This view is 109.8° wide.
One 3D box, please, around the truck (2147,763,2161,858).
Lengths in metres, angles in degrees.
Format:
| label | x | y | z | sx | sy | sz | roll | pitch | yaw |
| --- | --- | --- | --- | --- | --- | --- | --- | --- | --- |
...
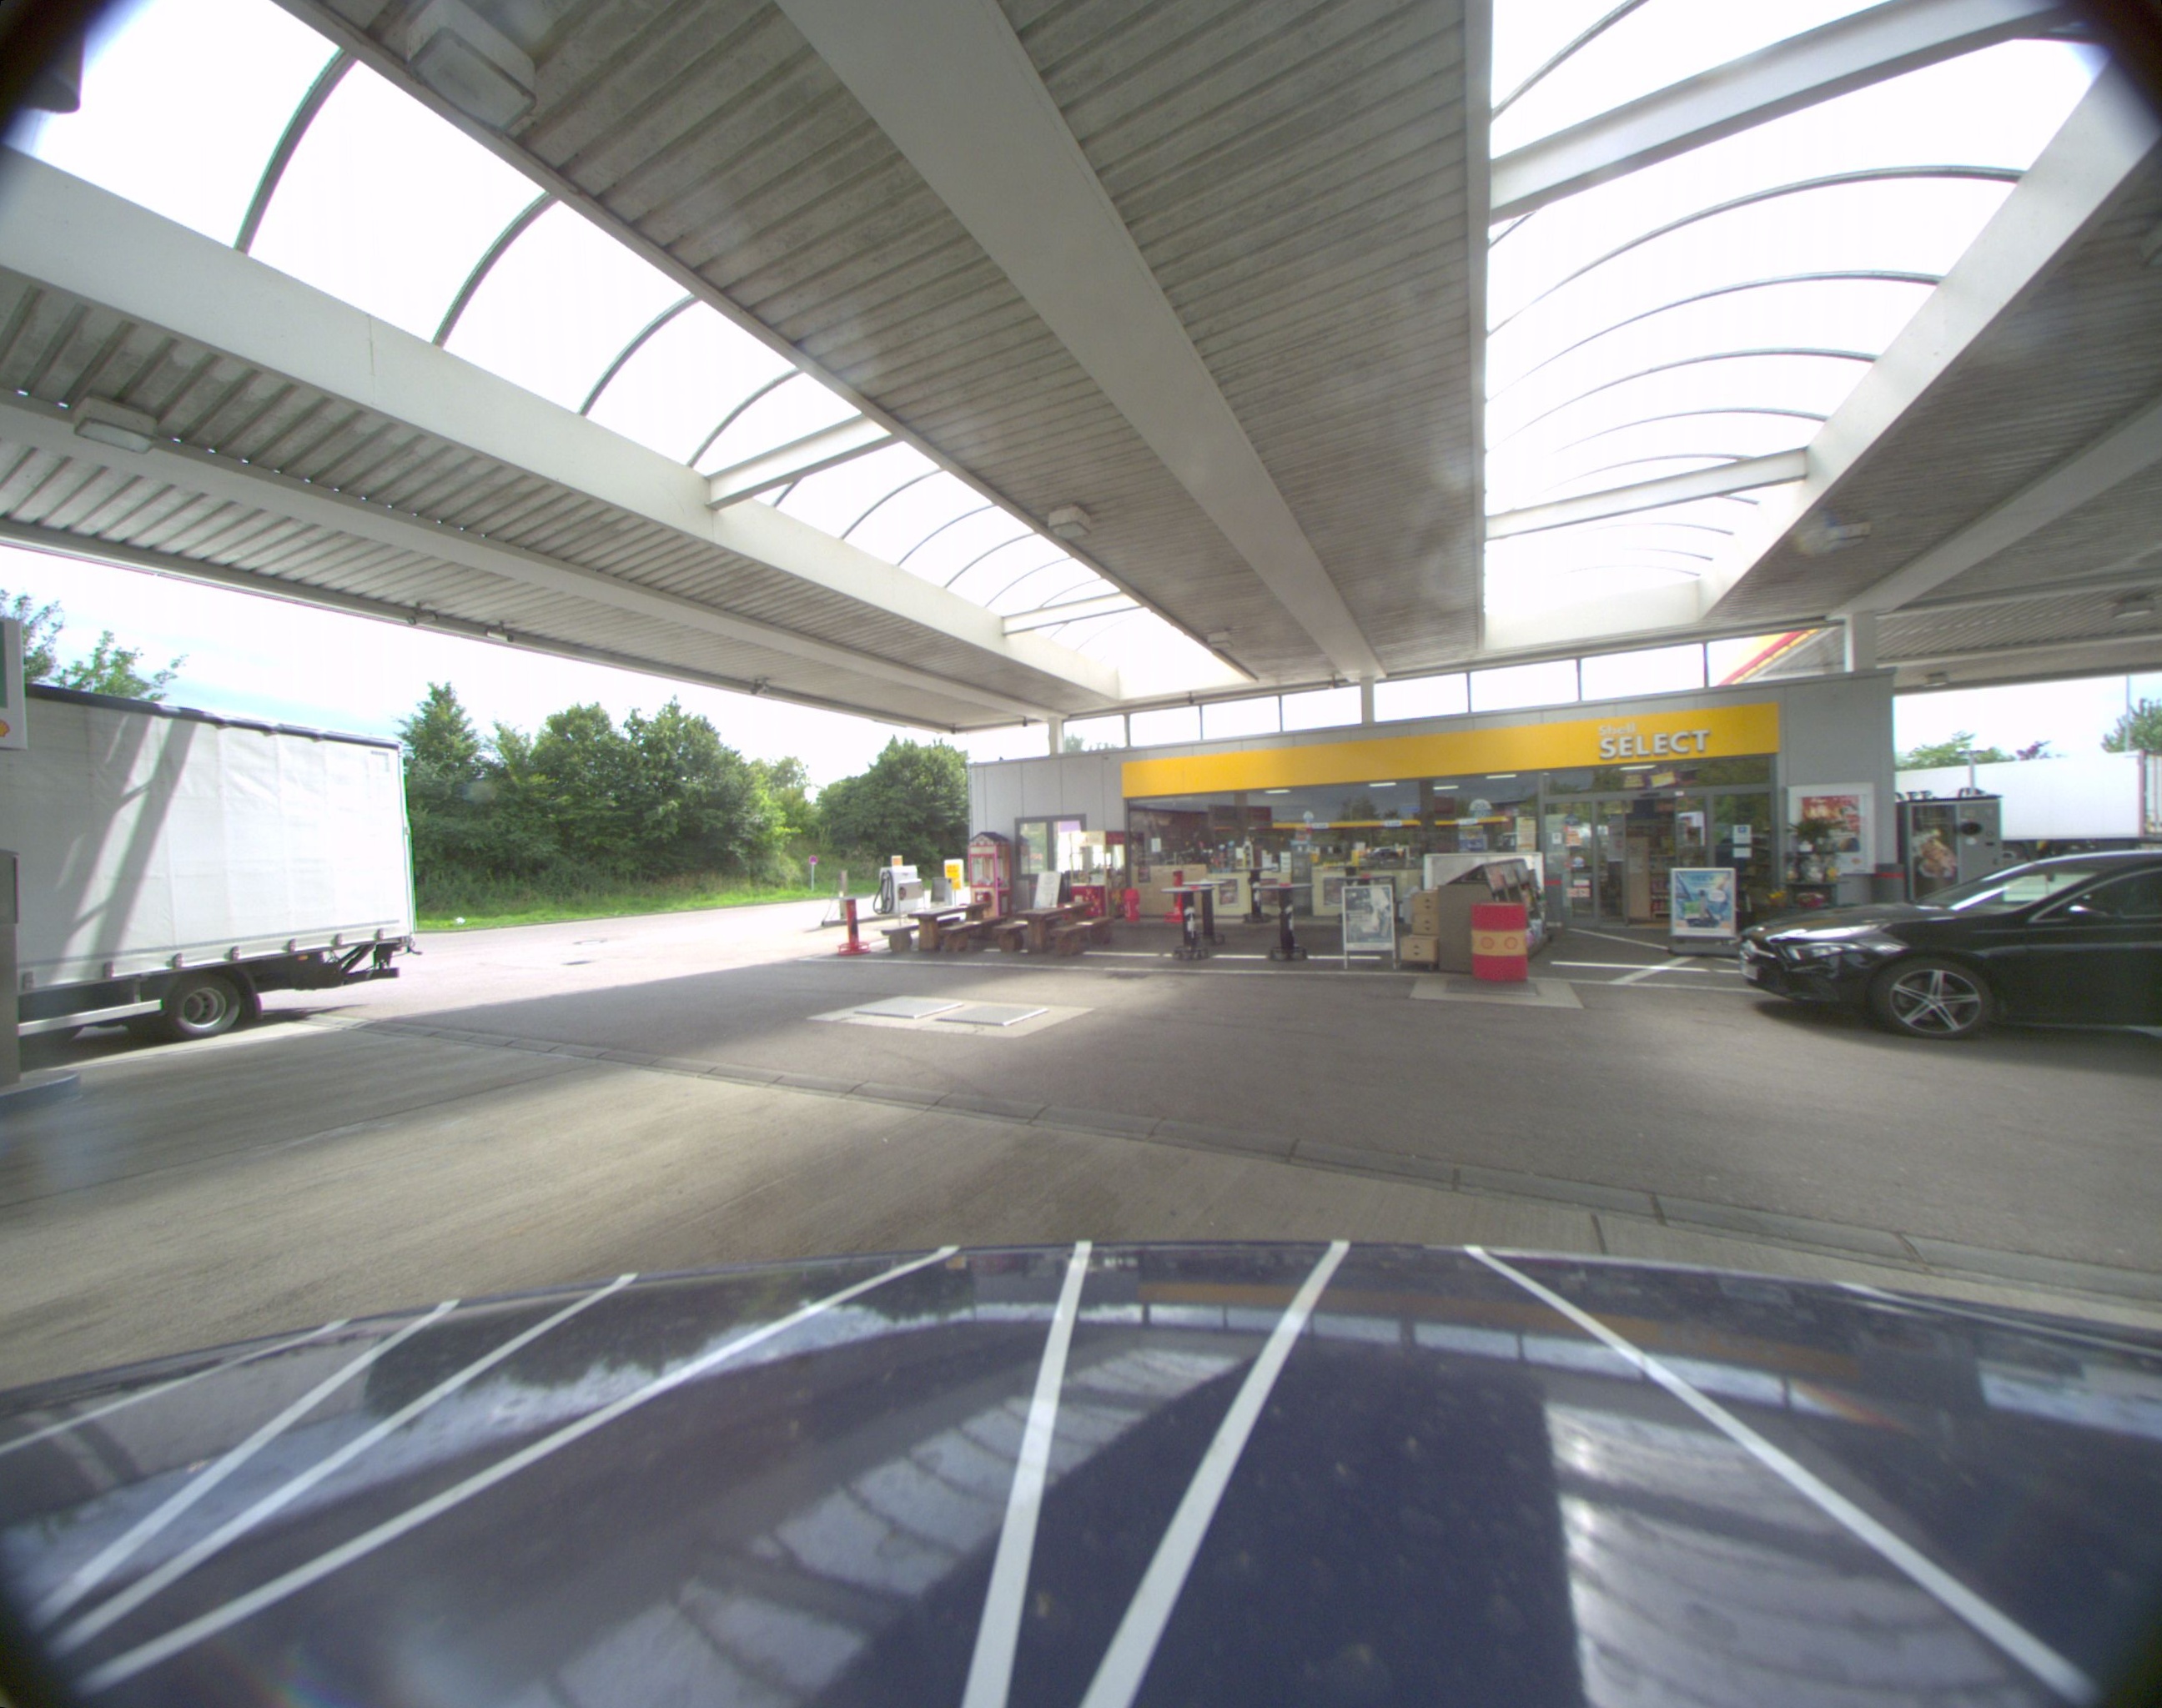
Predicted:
| label | x | y | z | sx | sy | sz | roll | pitch | yaw |
| --- | --- | --- | --- | --- | --- | --- | --- | --- | --- |
| truck | 51.477 | -2.044 | 33.174 | 3.383 | 4.479 | 6.239 | -2 | 1 | 29 |

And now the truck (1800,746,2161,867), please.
| label | x | y | z | sx | sy | sz | roll | pitch | yaw |
| --- | --- | --- | --- | --- | --- | --- | --- | --- | --- |
| truck | 35.129 | -1.617 | 30.091 | 2.796 | 3.982 | 9.578 | -3 | 1 | -16 |

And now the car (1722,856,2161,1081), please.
| label | x | y | z | sx | sy | sz | roll | pitch | yaw |
| --- | --- | --- | --- | --- | --- | --- | --- | --- | --- |
| car | 8.153 | 0.810 | 5.984 | 4.461 | 1.491 | 1.782 | -2 | 1 | 28 |
